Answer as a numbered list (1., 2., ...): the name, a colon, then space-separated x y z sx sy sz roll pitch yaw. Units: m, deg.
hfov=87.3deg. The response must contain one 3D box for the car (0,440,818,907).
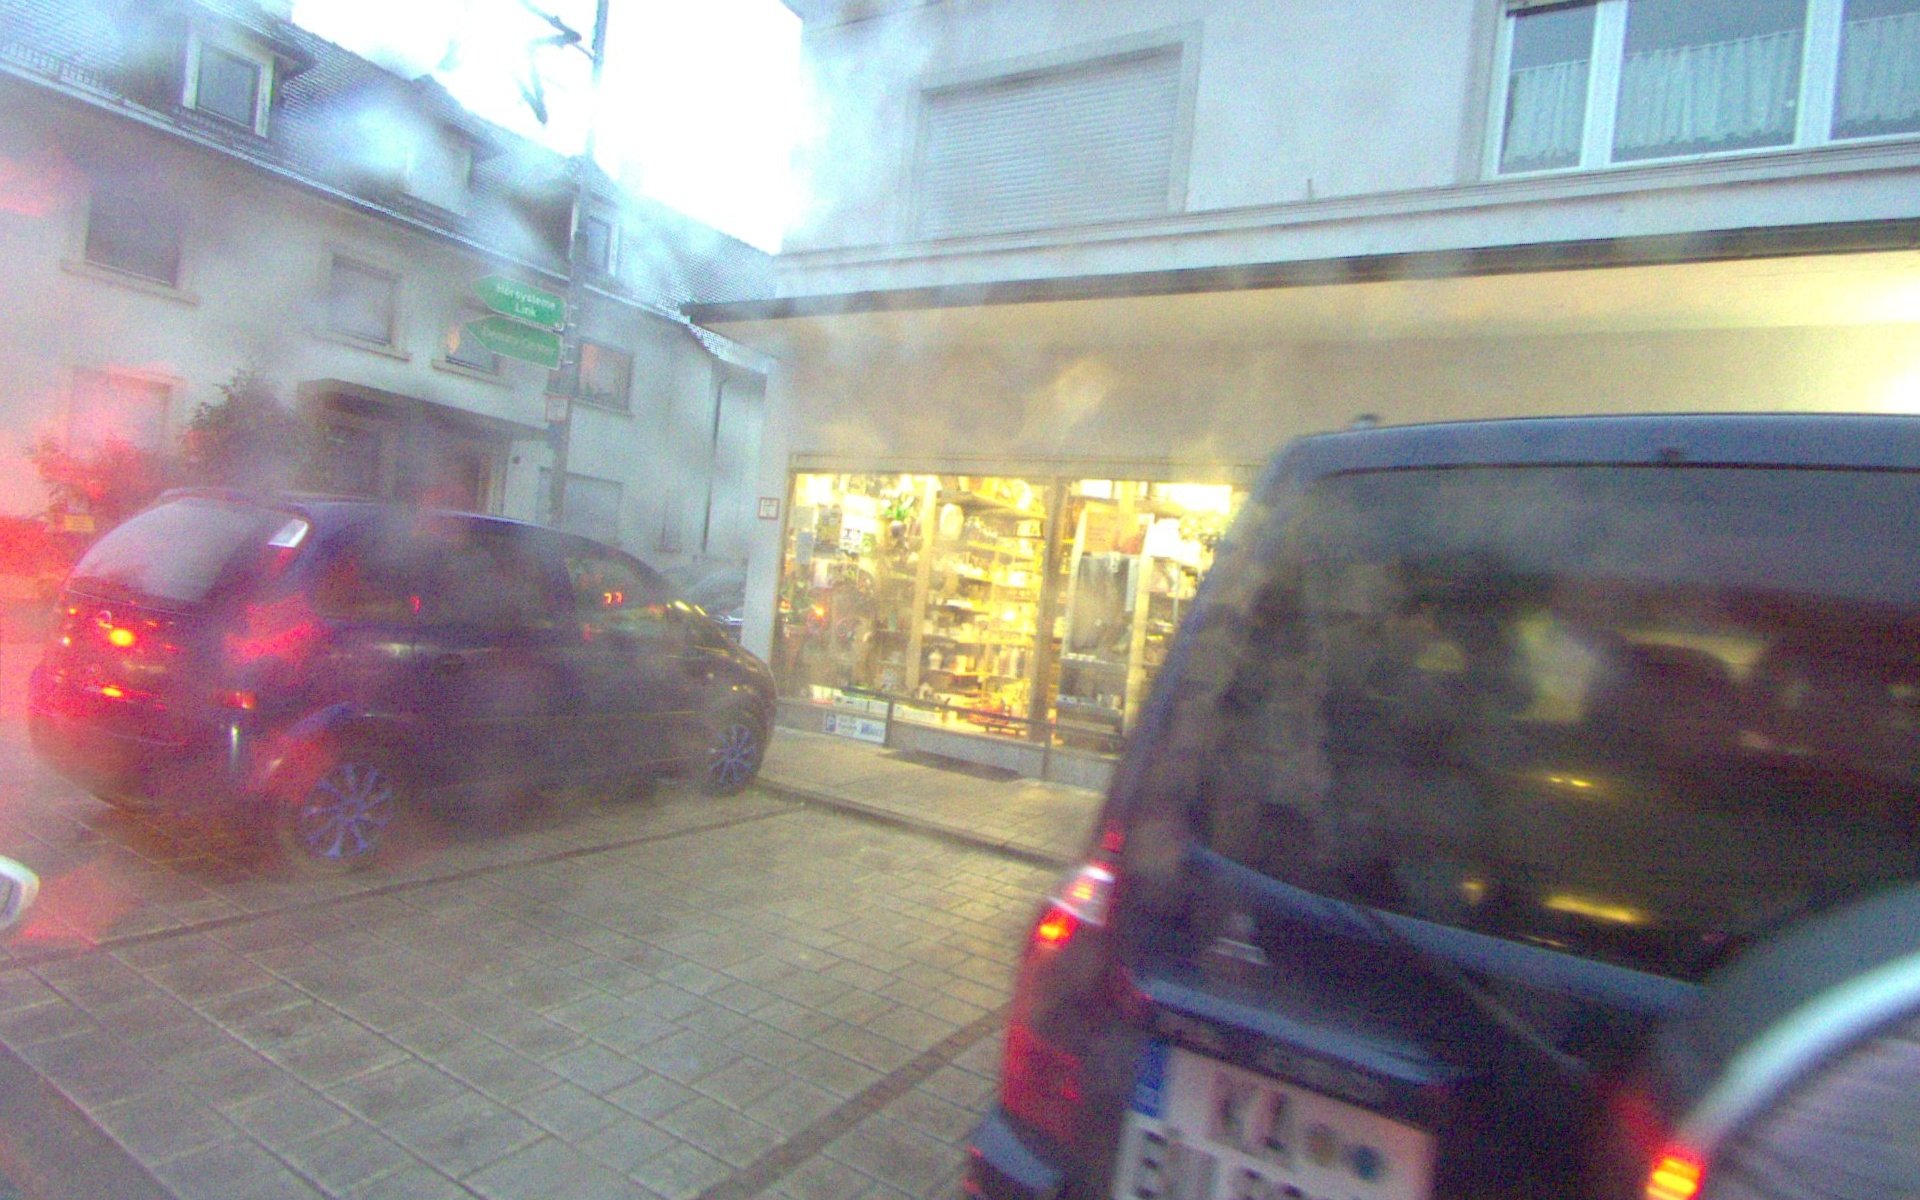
1. car: -2.651 0.295 5.631 1.652 1.599 3.877 7 0 26

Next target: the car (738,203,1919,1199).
1. car: 1.658 0.767 2.672 1.911 1.798 4.612 8 1 27

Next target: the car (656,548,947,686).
1. car: -2.145 0.299 14.665 1.967 1.590 3.991 6 0 31
